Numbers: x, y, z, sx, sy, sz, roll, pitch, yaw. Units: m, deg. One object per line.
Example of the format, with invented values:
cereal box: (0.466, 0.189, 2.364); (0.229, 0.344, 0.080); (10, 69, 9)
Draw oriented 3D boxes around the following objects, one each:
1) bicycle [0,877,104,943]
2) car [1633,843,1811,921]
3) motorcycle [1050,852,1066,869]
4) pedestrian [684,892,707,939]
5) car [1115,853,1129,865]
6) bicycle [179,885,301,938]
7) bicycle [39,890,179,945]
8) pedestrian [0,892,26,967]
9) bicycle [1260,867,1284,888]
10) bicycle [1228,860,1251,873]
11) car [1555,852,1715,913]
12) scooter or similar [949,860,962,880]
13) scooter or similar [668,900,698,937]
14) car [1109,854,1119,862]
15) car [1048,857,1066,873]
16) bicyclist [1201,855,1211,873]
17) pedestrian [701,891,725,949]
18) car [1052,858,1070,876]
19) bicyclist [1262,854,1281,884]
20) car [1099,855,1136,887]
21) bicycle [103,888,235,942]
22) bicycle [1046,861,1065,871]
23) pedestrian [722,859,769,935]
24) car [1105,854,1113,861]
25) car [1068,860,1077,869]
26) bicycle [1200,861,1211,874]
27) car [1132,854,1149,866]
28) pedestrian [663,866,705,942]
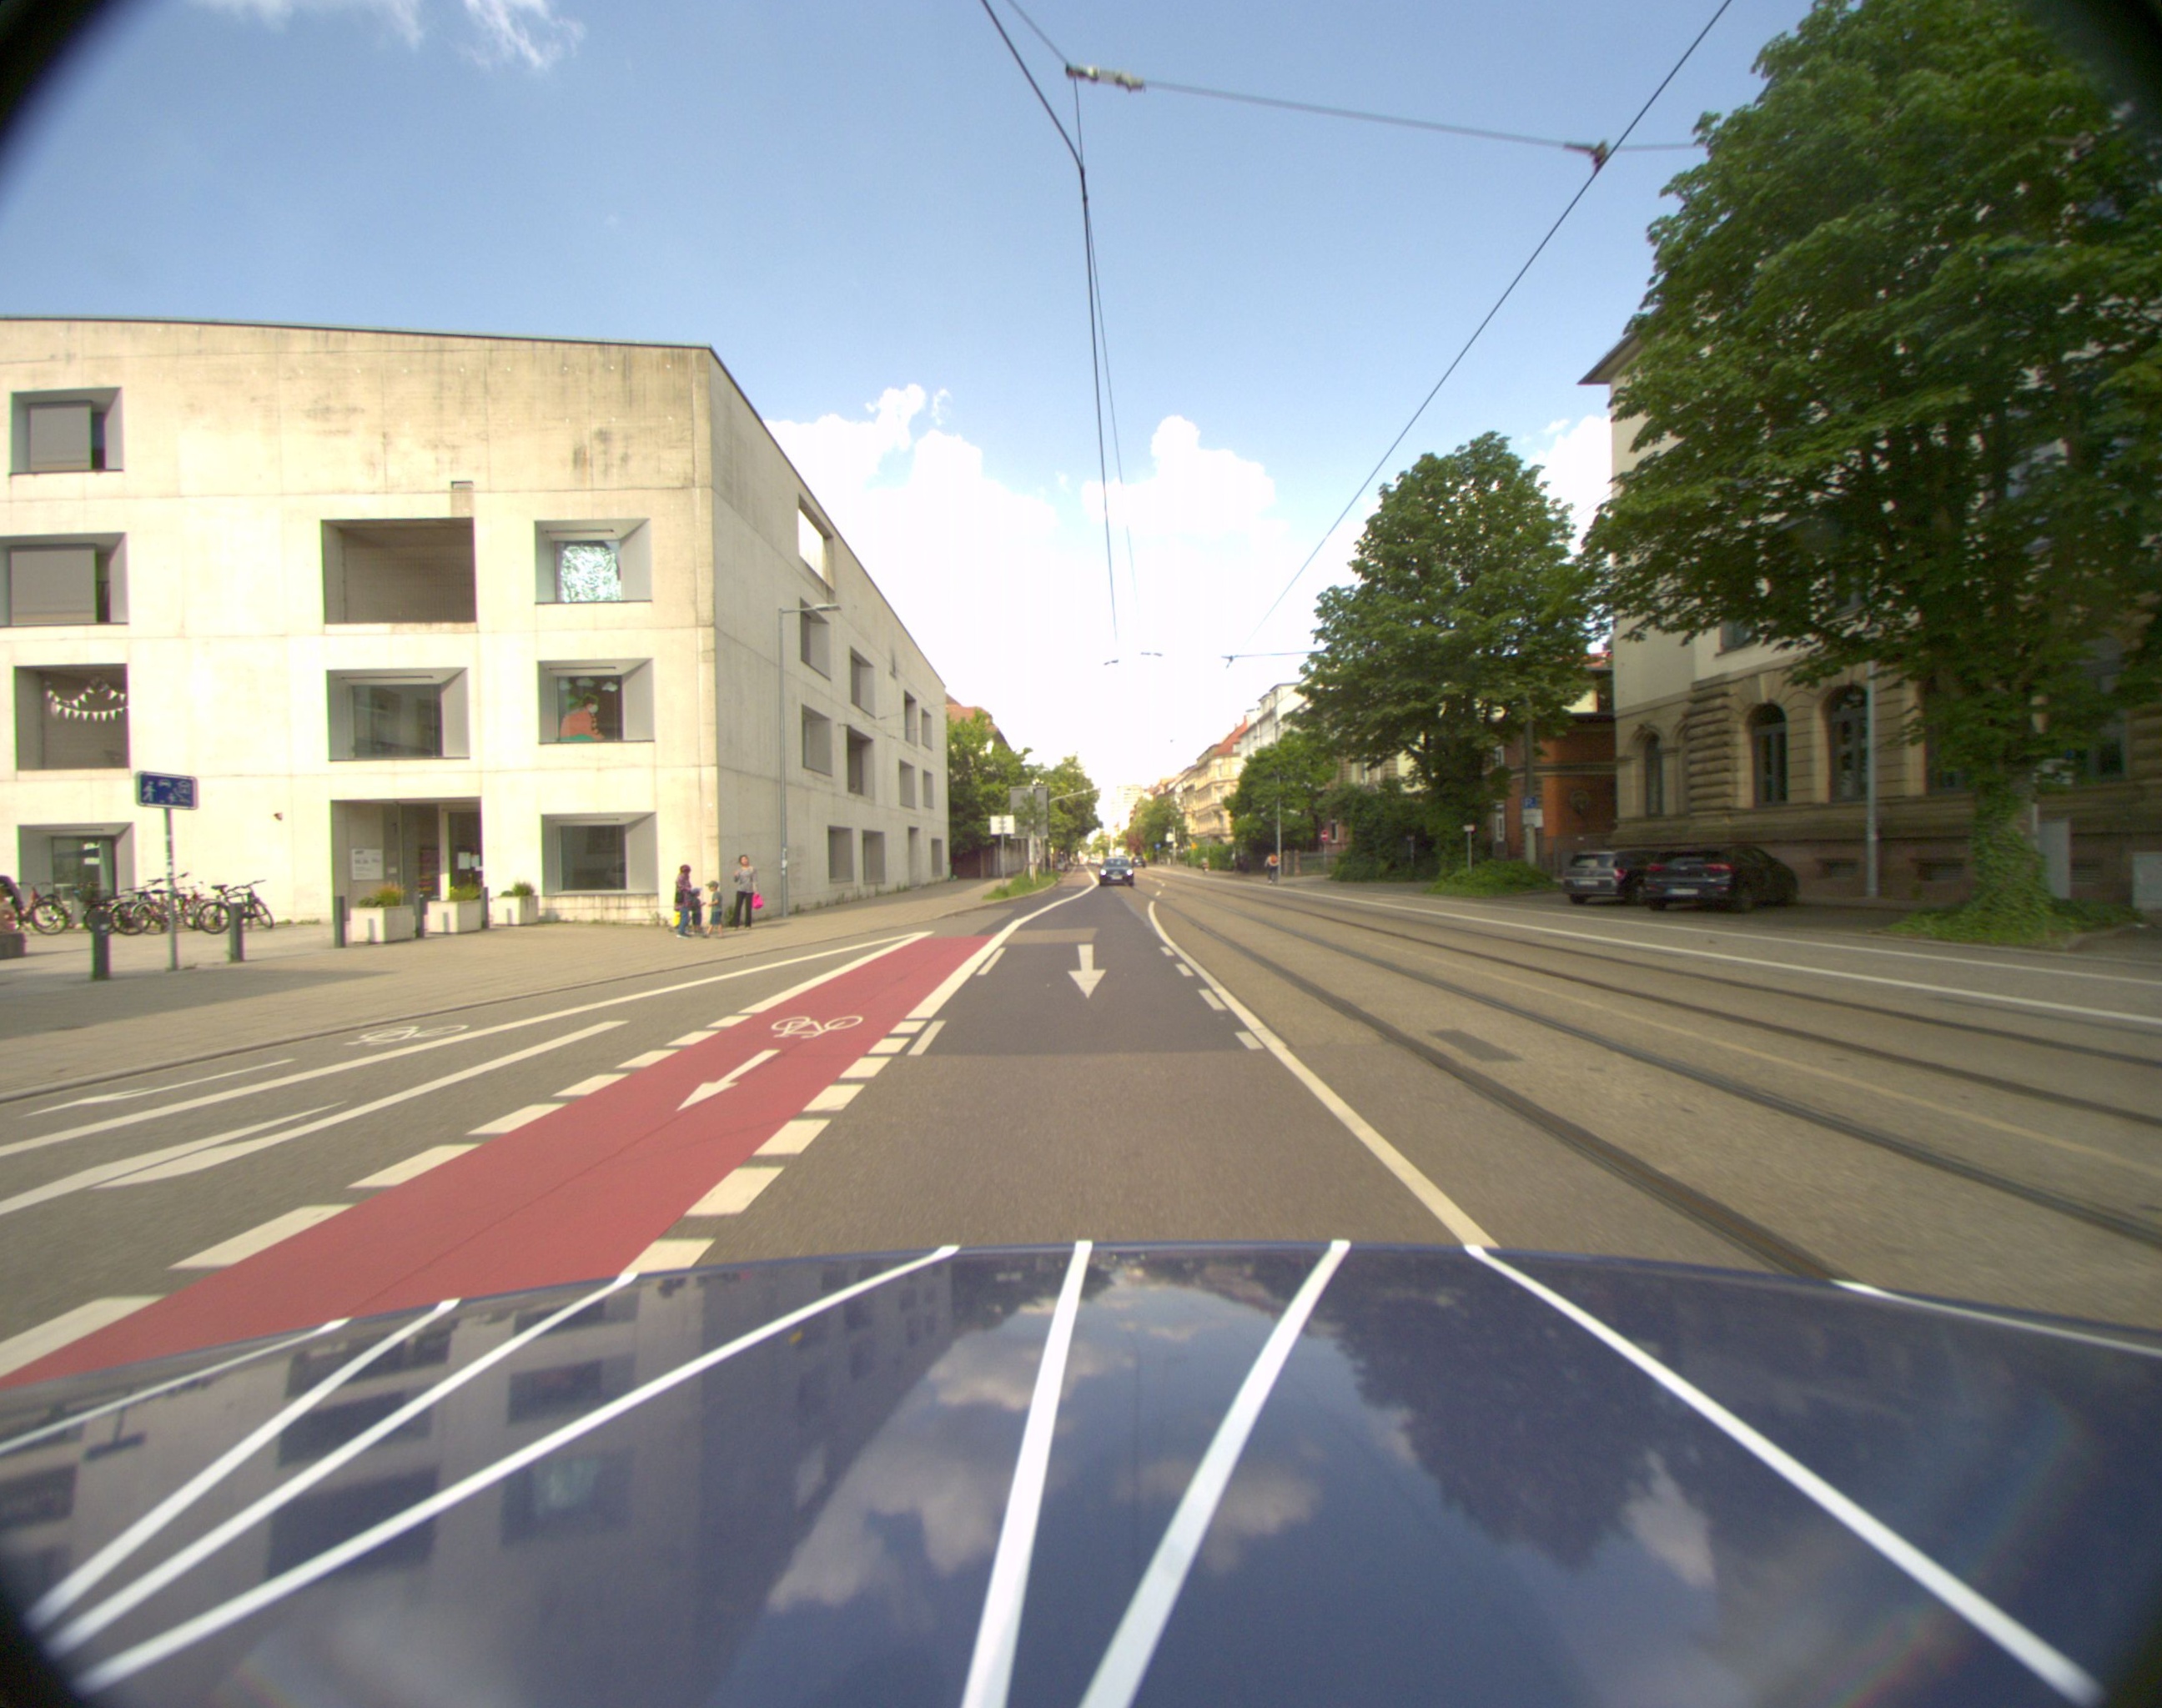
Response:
bicycle: (-22.484, 1.170, 16.324); (0.701, 1.320, 1.819); (0, 0, -3)
car: (15.193, 0.609, 17.967); (4.248, 1.541, 1.923); (-2, 0, -31)
motorcycle: (-2.106, 0.573, 70.184); (0.982, 1.532, 2.442); (-1, 0, 11)
pedestrian: (-8.378, 1.325, 16.521); (0.343, 1.004, 0.397); (1, -1, -9)
car: (6.898, 0.836, 128.020); (1.902, 1.896, 5.383); (-1, 0, -1)
bicycle: (-18.162, 1.214, 16.471); (0.701, 1.011, 1.819); (0, 0, -3)
bicycle: (-20.565, 1.316, 16.140); (0.701, 1.011, 1.819); (0, 0, -3)
pedestrian: (-18.203, 1.260, 12.561); (0.908, 1.194, 0.876); (-1, 0, 36)
bicycle: (9.679, 1.162, 38.564); (0.701, 1.011, 1.819); (0, 0, -3)
bicycle: (12.827, 1.011, 61.593); (1.145, 0.903, 2.988); (-4, 0, 0)
car: (15.097, 0.717, 20.674); (4.247, 1.438, 1.790); (-1, 0, -27)
scooter or similar: (-7.698, 0.986, 46.534); (0.323, 1.174, 1.149); (-1, 0, 13)
scooter or similar: (-8.774, 1.421, 16.759); (0.551, 0.795, 0.267); (2, -2, -23)
car: (6.971, 0.874, 161.138); (1.732, 1.531, 4.276); (0, 0, -1)
car: (-2.424, 1.086, 77.439); (1.711, 1.489, 4.789); (-1, 0, 0)
bicyclist: (10.455, 0.810, 63.506); (0.600, 1.484, 0.882); (4, 0, 2)
pedestrian: (-7.680, 1.369, 15.860); (0.423, 1.193, 0.405); (1, -1, -24)
car: (-2.228, 1.487, 85.764); (1.900, 1.929, 4.950); (-1, 0, 0)
bicyclist: (9.669, 0.746, 38.628); (0.693, 1.510, 0.868); (0, 0, -3)
car: (1.876, 0.871, 40.094); (1.693, 1.567, 4.157); (-1, 0, 0)
bicycle: (-19.486, 1.280, 16.304); (0.701, 1.011, 1.819); (0, 0, -3)
bicycle: (-2.435, 1.177, 73.636); (1.780, 0.897, 0.692); (-1, 0, 3)
pedestrian: (-7.814, 0.991, 17.723); (0.686, 1.714, 0.747); (0, -1, 8)
car: (6.470, 0.804, 176.820); (1.632, 1.399, 4.129); (-2, 0, 0)
car: (-1.505, 1.929, 139.320); (1.589, 1.436, 3.898); (-1, 0, 0)
bicycle: (10.434, 1.114, 63.514); (0.604, 1.091, 2.023); (4, 0, 3)
car: (7.515, 0.757, 95.993); (1.693, 1.393, 3.930); (1, 0, -1)
pedestrian: (-8.326, 1.032, 15.928); (0.520, 1.570, 0.549); (0, -1, 19)
